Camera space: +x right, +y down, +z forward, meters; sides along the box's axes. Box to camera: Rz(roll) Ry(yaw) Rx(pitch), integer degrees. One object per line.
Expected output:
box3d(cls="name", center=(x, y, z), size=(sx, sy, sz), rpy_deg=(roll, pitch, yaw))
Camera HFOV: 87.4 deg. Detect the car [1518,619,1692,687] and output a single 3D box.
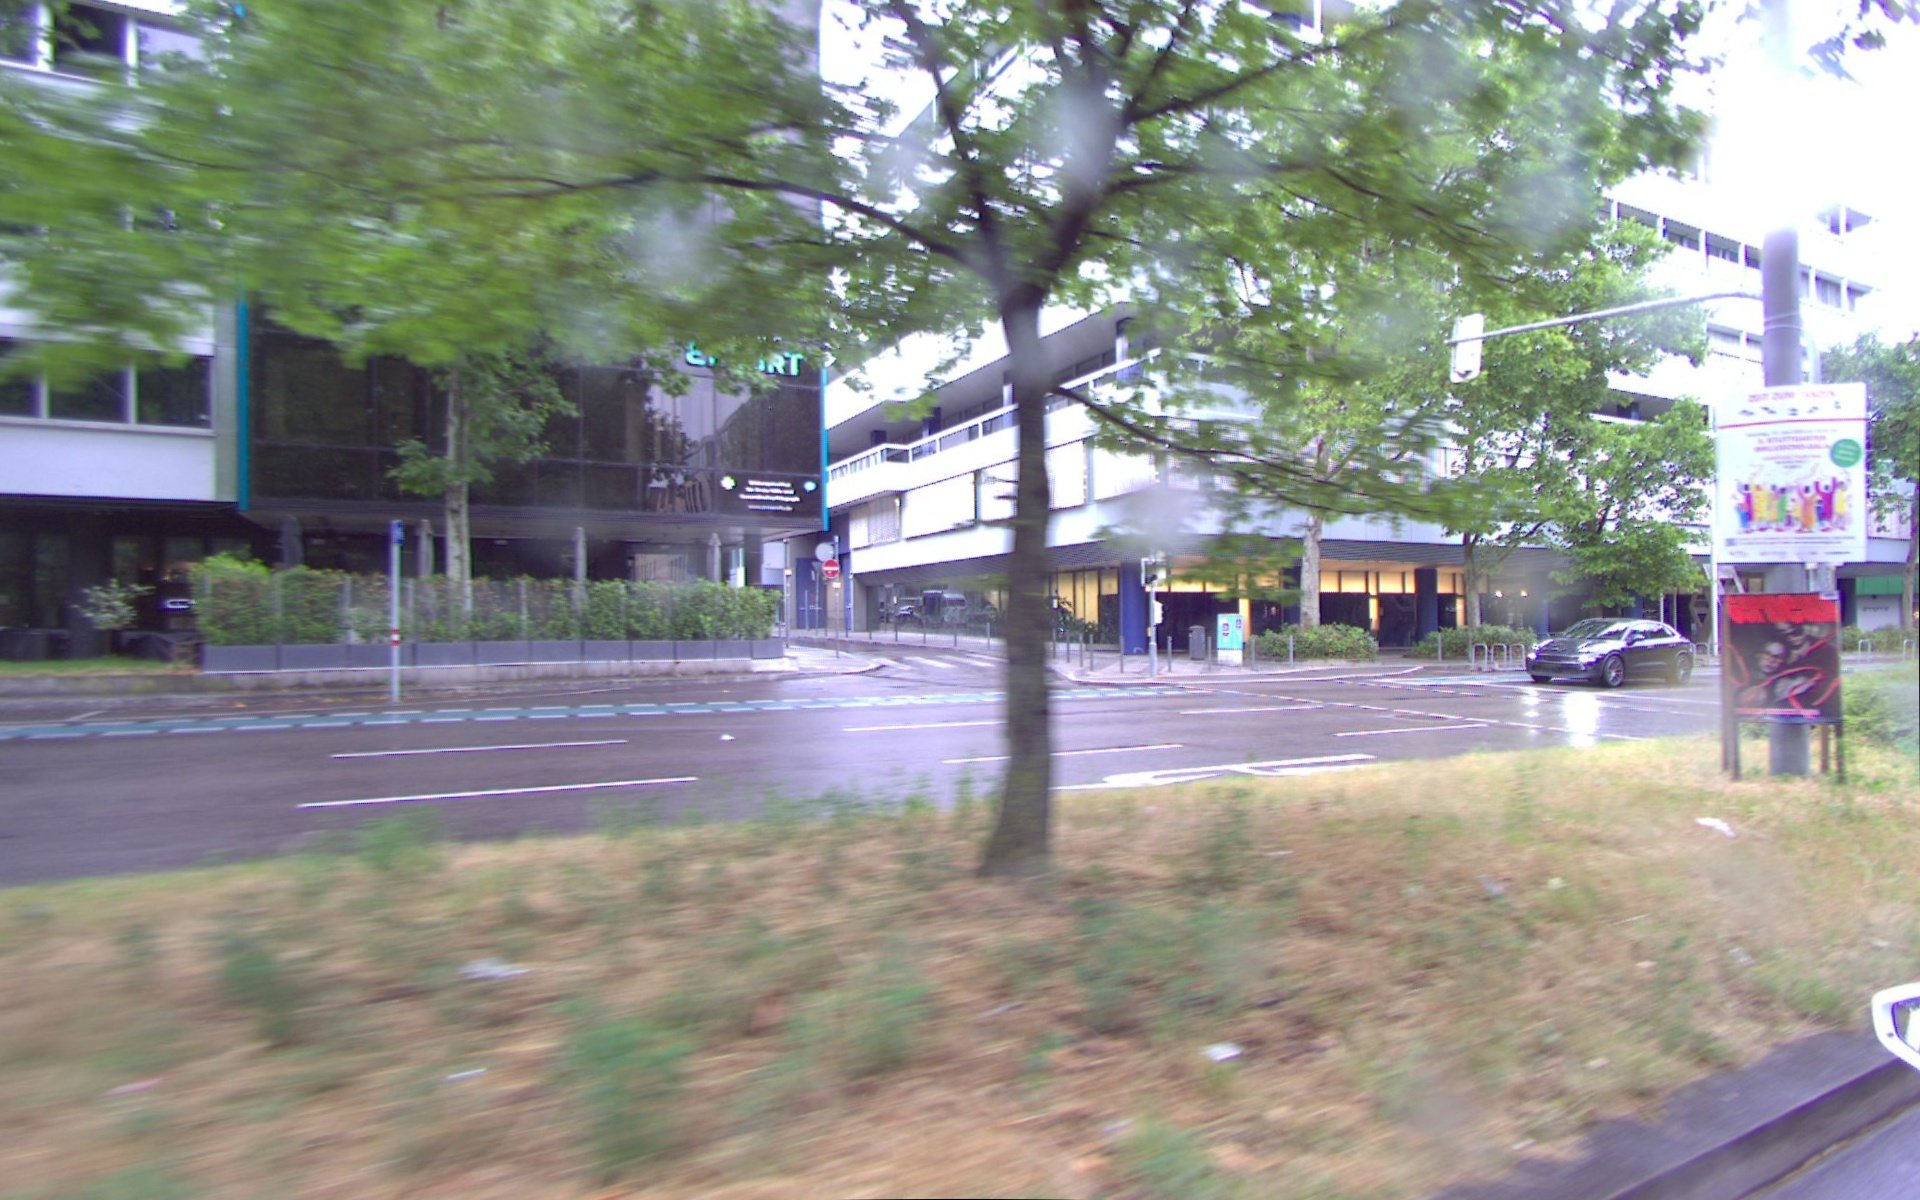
box3d(cls="car", center=(16.071, 1.264, 25.003), size=(4.135, 1.572, 1.823), rpy_deg=(1, -1, -27))
